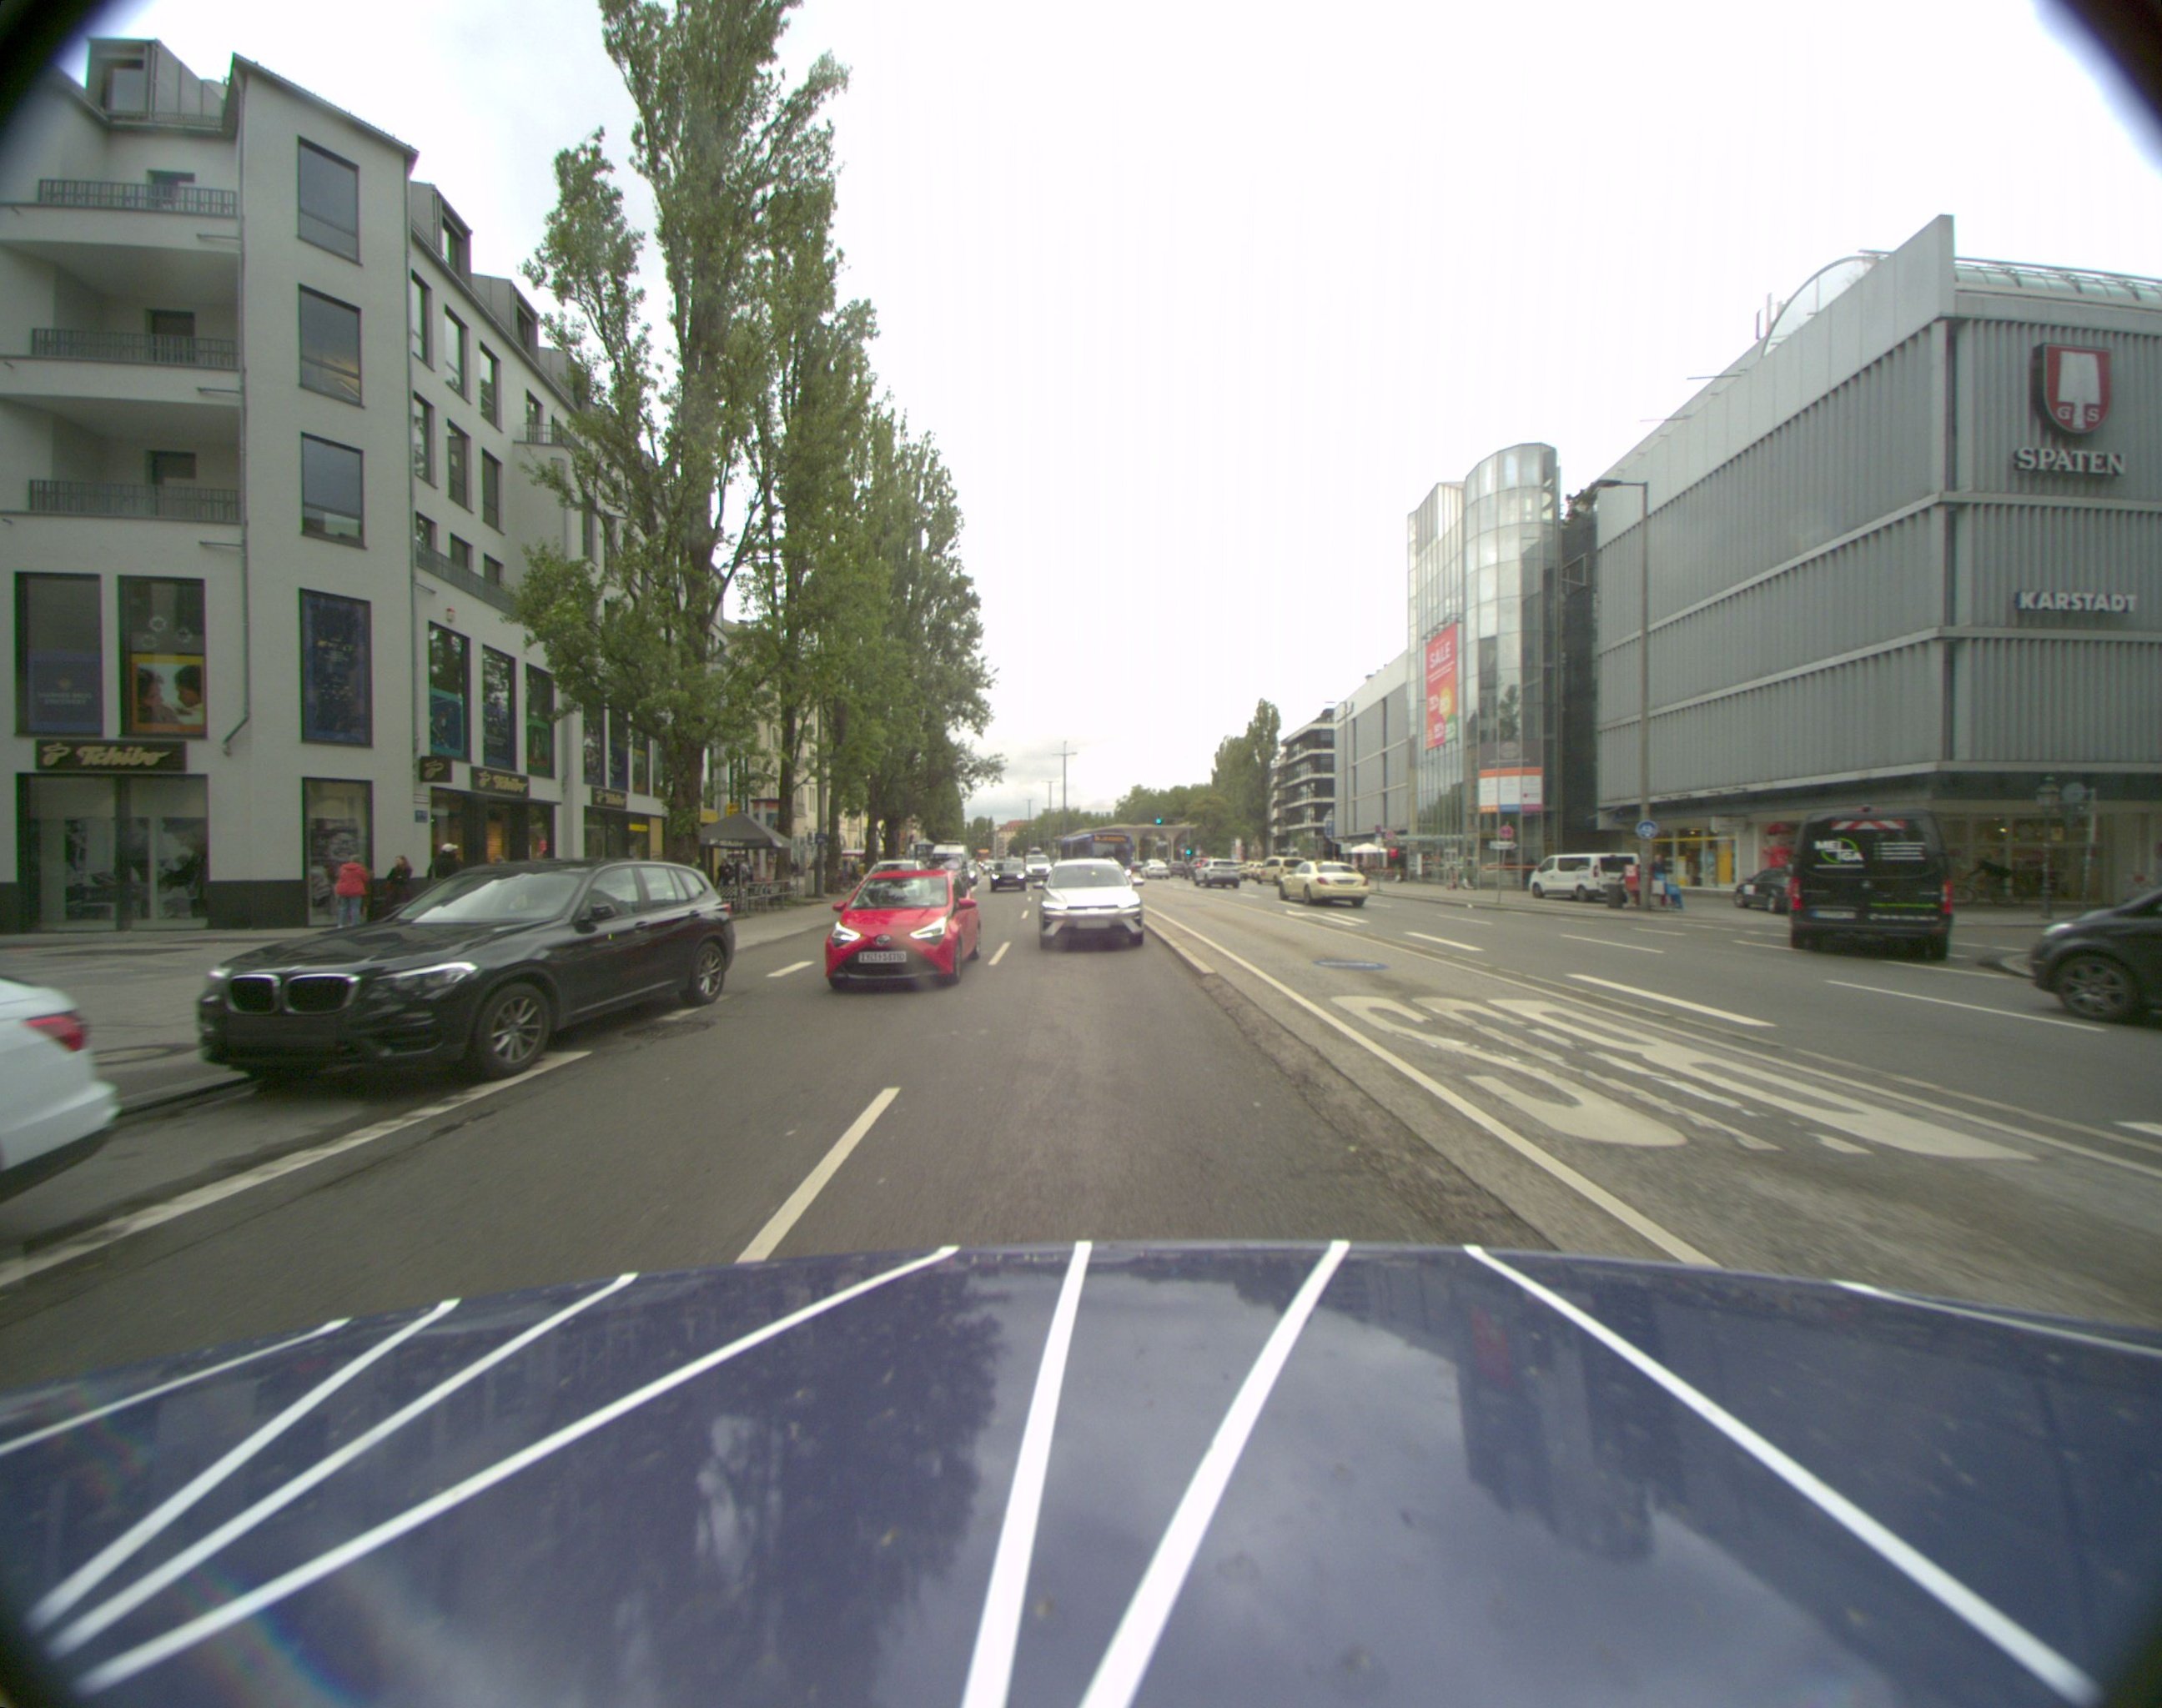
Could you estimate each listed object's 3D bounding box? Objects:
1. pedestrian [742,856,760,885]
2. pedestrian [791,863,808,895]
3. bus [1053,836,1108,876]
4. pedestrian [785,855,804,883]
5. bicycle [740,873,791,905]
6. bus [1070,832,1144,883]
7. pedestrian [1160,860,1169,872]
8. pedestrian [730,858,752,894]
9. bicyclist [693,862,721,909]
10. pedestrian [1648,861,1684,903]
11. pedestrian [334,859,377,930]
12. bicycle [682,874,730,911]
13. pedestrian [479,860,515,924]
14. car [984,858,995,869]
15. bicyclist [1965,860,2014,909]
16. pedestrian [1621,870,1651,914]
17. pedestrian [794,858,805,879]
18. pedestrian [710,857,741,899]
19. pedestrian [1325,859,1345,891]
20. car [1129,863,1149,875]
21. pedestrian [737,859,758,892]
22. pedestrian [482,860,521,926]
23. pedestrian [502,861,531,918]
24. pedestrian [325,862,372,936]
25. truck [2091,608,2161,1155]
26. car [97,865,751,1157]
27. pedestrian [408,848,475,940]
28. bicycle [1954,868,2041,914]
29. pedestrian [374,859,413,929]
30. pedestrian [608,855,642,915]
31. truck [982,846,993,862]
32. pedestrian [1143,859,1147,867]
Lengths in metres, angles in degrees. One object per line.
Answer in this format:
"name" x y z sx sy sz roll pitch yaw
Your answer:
"pedestrian" -17.807 0.871 41.022 0.693 1.575 0.772 0 0 -7
"pedestrian" -12.036 1.048 32.529 0.597 1.334 0.391 -2 1 -28
"bus" -0.247 0.115 62.274 2.943 2.927 11.204 -1 0 -8
"pedestrian" -17.447 0.917 46.270 0.719 1.714 0.741 1 0 30
"bicycle" -11.981 1.323 28.875 1.511 1.132 0.894 1 0 10
"bus" 1.449 0.174 50.458 2.943 2.927 11.204 -1 0 -8
"pedestrian" 10.279 1.473 93.523 0.640 1.542 0.759 -2 1 -33
"pedestrian" -14.784 0.944 33.061 0.684 1.549 0.750 0 0 -5
"bicyclist" -11.517 0.964 23.400 0.640 1.440 0.440 0 0 -1
"pedestrian" 25.641 1.219 33.303 0.864 1.824 0.905 0 0 4
"pedestrian" -17.015 0.933 17.831 0.506 1.615 0.550 -1 1 29
"bicycle" -11.524 1.161 23.390 0.591 1.057 1.804 0 0 -1
"pedestrian" -14.973 0.964 19.481 0.491 1.625 0.569 0 0 0
"car" -15.506 1.594 128.596 1.860 1.696 3.997 1 0 -7
"bicyclist" 30.761 1.018 25.730 0.706 1.602 1.023 0 0 -42
"pedestrian" 19.466 1.326 26.674 0.547 1.486 0.655 0 0 -3
"pedestrian" -21.480 1.096 58.053 0.602 1.641 0.764 0 0 -5
"pedestrian" -13.939 0.919 29.811 0.802 1.627 1.023 0 0 -5
"pedestrian" 15.191 1.222 45.416 0.788 1.856 0.846 2 1 -3
"car" 6.834 1.765 90.611 1.734 1.400 4.686 0 0 -4
"pedestrian" -15.833 1.016 36.094 0.684 1.549 0.750 0 0 -5
"pedestrian" -13.952 0.935 18.303 0.491 1.558 0.569 0 0 0
"pedestrian" -15.681 0.969 21.115 0.566 1.567 0.675 0 0 -30
"pedestrian" -16.545 1.003 17.174 0.549 1.615 0.506 -2 1 -22
"truck" 7.404 0.164 1.237 2.296 3.303 7.160 1 0 5
"car" -5.146 1.029 7.103 1.929 1.690 4.650 -2 1 1
"pedestrian" -13.658 0.838 16.258 0.648 1.913 0.926 1 0 -3
"bicycle" 30.848 1.216 25.611 0.569 1.445 1.846 0 0 -42
"pedestrian" -16.272 0.926 17.993 0.547 1.615 0.508 -1 1 32
"pedestrian" -13.430 0.895 22.397 0.670 1.715 0.768 0 0 -15
"truck" -21.714 -0.011 176.032 2.542 3.468 7.746 0 0 -7
"pedestrian" 10.511 1.408 125.136 0.550 1.329 0.591 0 0 -8
